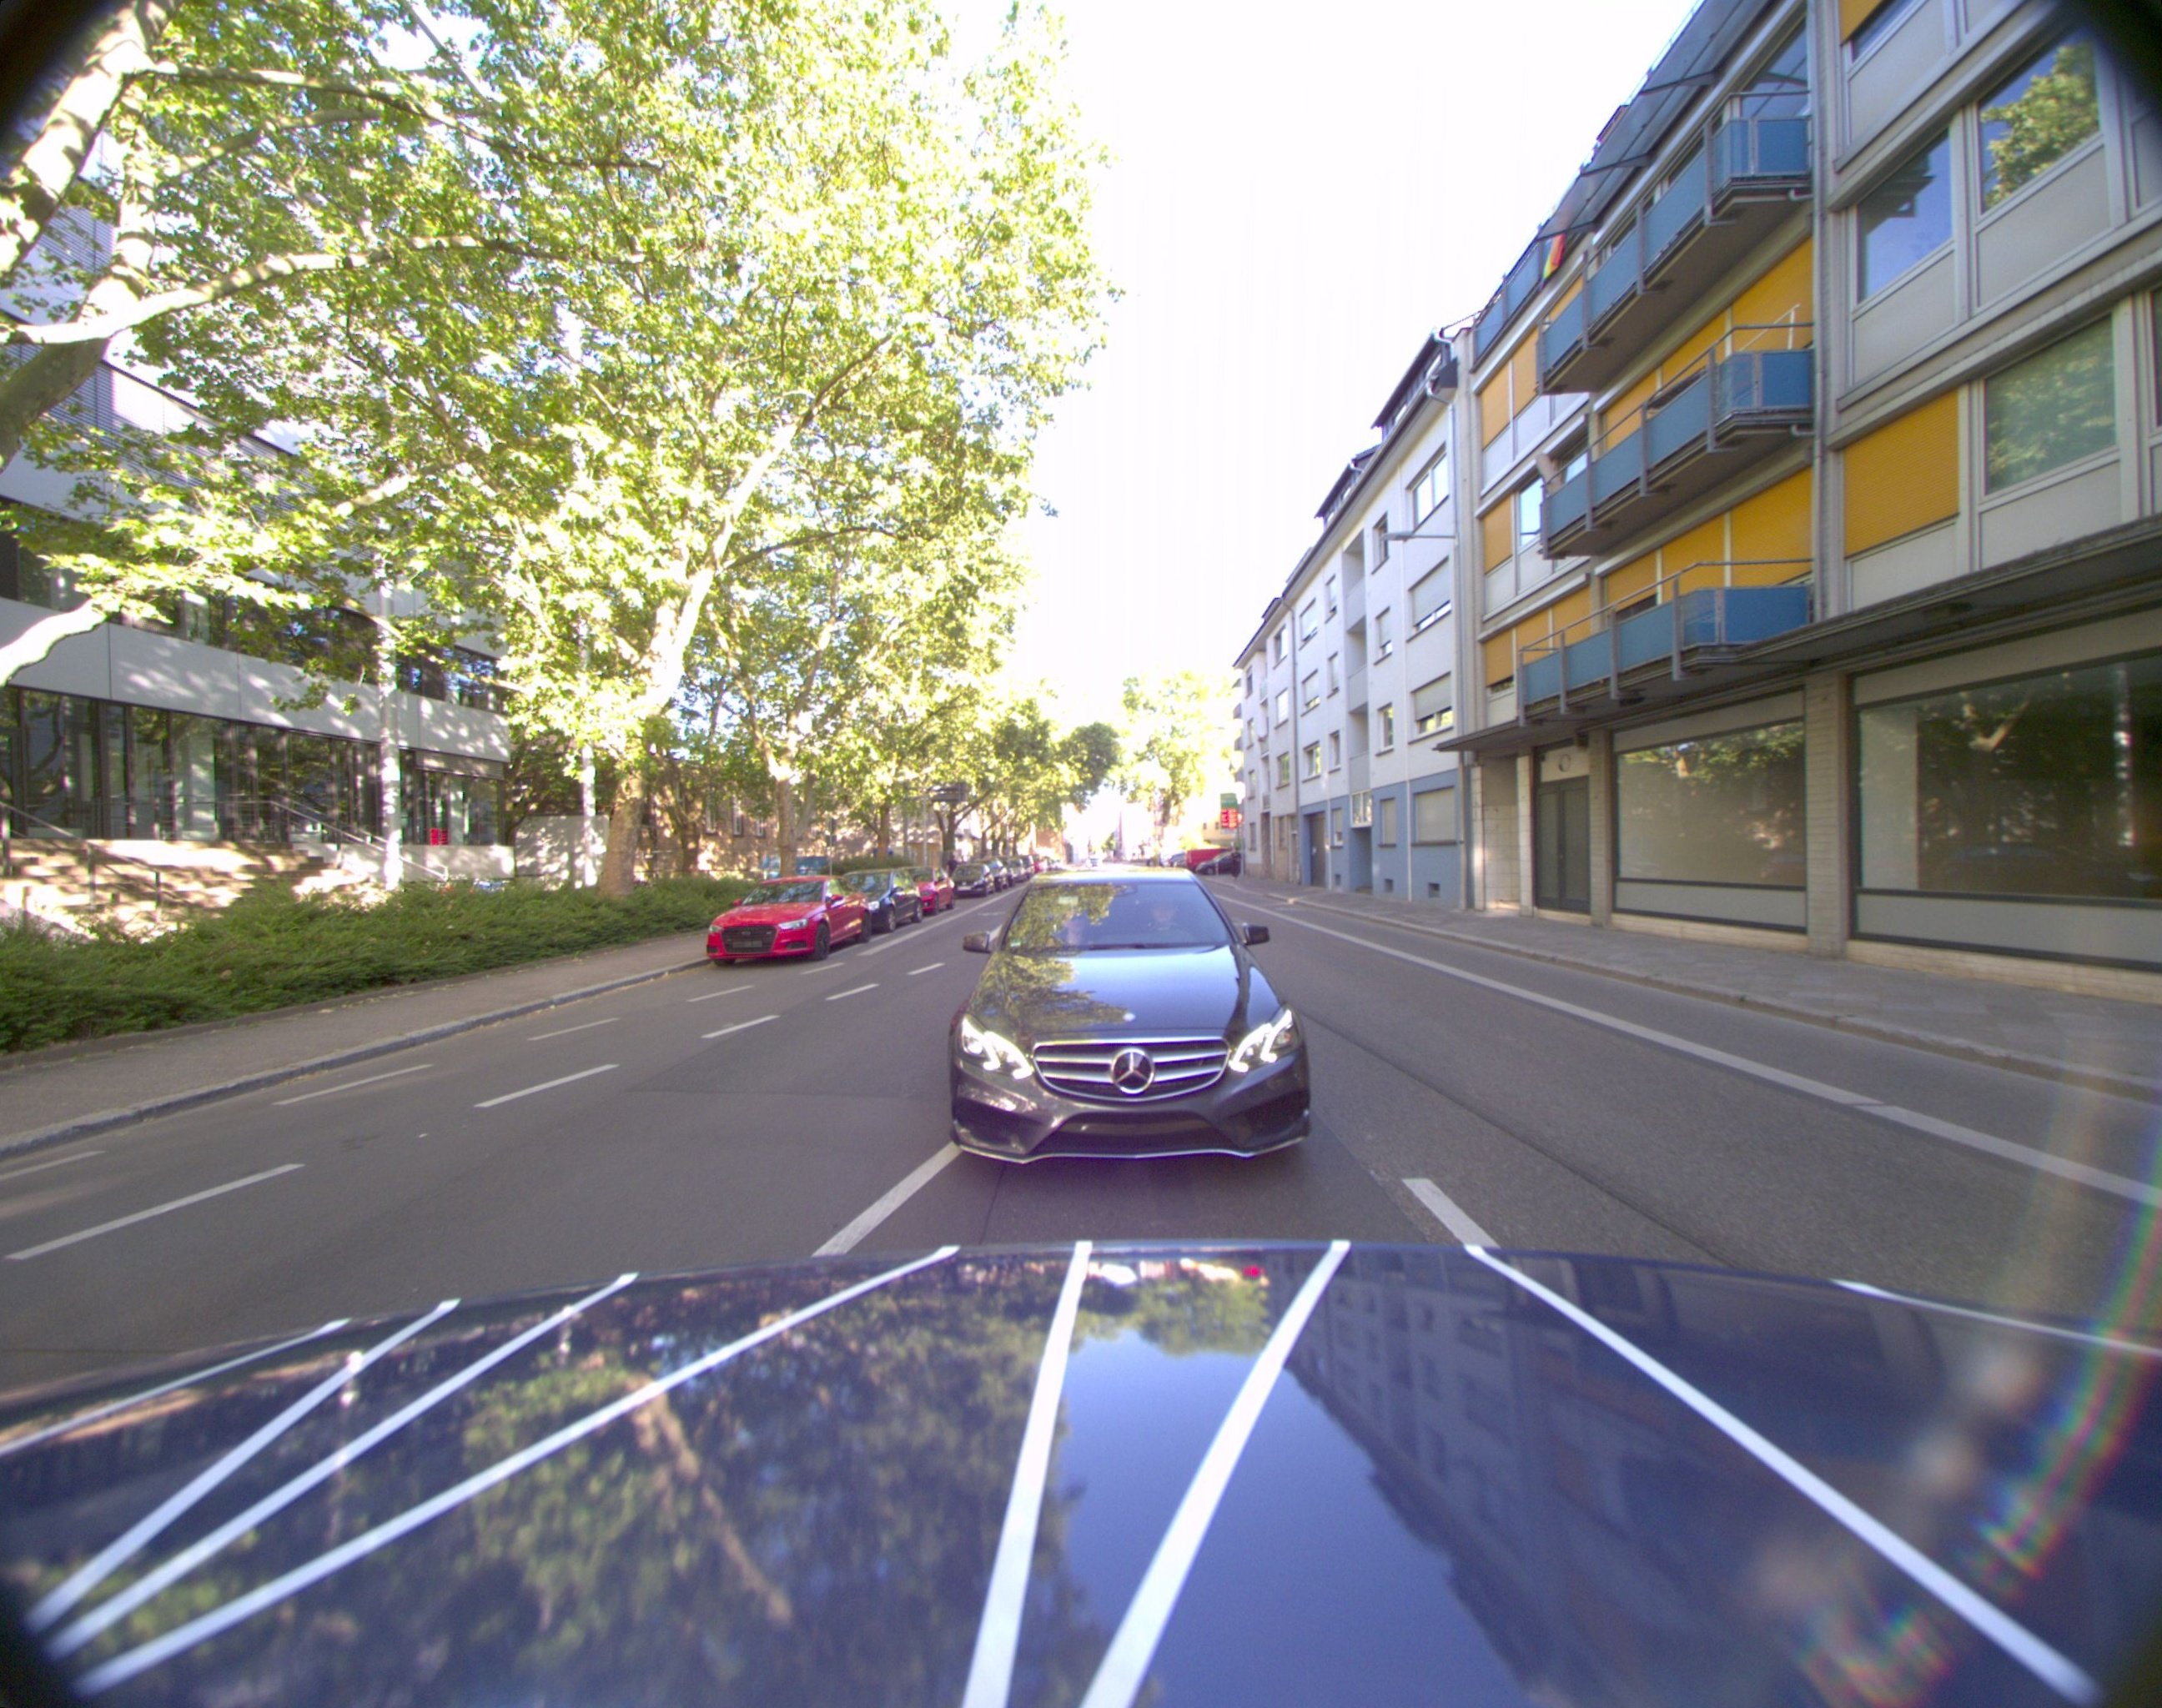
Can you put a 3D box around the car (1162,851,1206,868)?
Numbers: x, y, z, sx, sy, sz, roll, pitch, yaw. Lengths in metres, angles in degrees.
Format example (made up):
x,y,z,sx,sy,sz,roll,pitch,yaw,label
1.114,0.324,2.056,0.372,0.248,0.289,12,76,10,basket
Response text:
x,y,z,sx,sy,sz,roll,pitch,yaw,label
10.609,0.537,78.655,4.255,1.461,1.653,-4,0,1,car

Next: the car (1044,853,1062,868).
x,y,z,sx,sy,sz,roll,pitch,yaw,label
-3.405,0.786,92.848,1.835,1.667,4.259,-2,0,1,car

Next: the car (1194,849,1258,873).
x,y,z,sx,sy,sz,roll,pitch,yaw,label
10.405,0.515,54.753,4.255,1.392,1.653,-4,0,1,car

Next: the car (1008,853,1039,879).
x,y,z,sx,sy,sz,roll,pitch,yaw,label
-4.174,0.811,55.645,1.835,1.750,4.259,-2,0,1,car

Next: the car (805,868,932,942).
x,y,z,sx,sy,sz,roll,pitch,yaw,label
-5.037,1.149,18.636,1.835,1.438,4.168,-2,0,1,car

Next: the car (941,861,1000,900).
x,y,z,sx,sy,sz,roll,pitch,yaw,label
-4.741,1.103,33.183,1.835,1.459,4.168,-2,0,1,car

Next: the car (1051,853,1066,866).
x,y,z,sx,sy,sz,roll,pitch,yaw,label
-3.039,0.684,102.955,1.835,1.667,4.259,-2,0,1,car

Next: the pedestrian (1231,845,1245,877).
x,y,z,sx,sy,sz,roll,pitch,yaw,label
8.426,0.386,40.774,0.612,1.685,0.655,-2,1,1,pedestrian

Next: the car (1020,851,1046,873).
x,y,z,sx,sy,sz,roll,pitch,yaw,label
-4.140,0.681,66.353,1.835,1.839,4.259,-2,0,1,car

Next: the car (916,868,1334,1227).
x,y,z,sx,sy,sz,roll,pitch,yaw,label
0.227,0.915,5.577,1.849,1.490,4.302,-1,0,1,car

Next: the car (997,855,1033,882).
x,y,z,sx,sy,sz,roll,pitch,yaw,label
-4.333,0.946,50.614,1.835,1.604,4.259,-2,0,1,car

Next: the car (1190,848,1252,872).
x,y,z,sx,sy,sz,roll,pitch,yaw,label
10.489,0.452,57.054,4.255,1.461,1.653,-4,0,1,car

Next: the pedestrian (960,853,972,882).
x,y,z,sx,sy,sz,roll,pitch,yaw,label
-7.180,0.845,47.431,0.601,1.785,0.593,-2,1,0,pedestrian

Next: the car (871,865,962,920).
x,y,z,sx,sy,sz,roll,pitch,yaw,label
-5.039,1.134,23.846,1.835,1.459,4.168,-2,0,1,car

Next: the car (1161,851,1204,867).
x,y,z,sx,sy,sz,roll,pitch,yaw,label
10.781,0.511,80.620,4.255,1.461,1.653,-4,0,1,car

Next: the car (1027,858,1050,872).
x,y,z,sx,sy,sz,roll,pitch,yaw,label
-3.984,1.026,71.793,1.835,1.220,4.259,-2,0,1,car

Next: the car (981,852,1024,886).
x,y,z,sx,sy,sz,roll,pitch,yaw,label
-4.505,0.821,44.120,1.835,1.787,4.463,-2,0,1,car

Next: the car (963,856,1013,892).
x,y,z,sx,sy,sz,roll,pitch,yaw,label
-4.592,0.964,38.080,1.835,1.596,4.161,-2,0,1,car

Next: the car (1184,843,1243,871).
x,y,z,sx,sy,sz,roll,pitch,yaw,label
10.420,0.219,60.134,4.255,1.907,1.818,-4,0,0,car

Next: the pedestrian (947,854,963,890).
x,y,z,sx,sy,sz,roll,pitch,yaw,label
-6.476,0.920,39.110,0.660,1.849,0.641,-2,1,1,pedestrian

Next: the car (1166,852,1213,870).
x,y,z,sx,sy,sz,roll,pitch,yaw,label
10.438,0.670,73.197,4.255,1.461,1.653,-4,0,1,car

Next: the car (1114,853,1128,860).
x,y,z,sx,sy,sz,roll,pitch,yaw,label
9.445,0.558,178.437,1.995,1.729,4.006,-1,0,21,car

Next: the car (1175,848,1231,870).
x,y,z,sx,sy,sz,roll,pitch,yaw,label
10.057,0.405,62.716,4.255,1.461,1.653,-4,0,1,car

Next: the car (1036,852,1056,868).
x,y,z,sx,sy,sz,roll,pitch,yaw,label
-3.932,0.667,86.232,1.835,1.667,4.259,-2,0,1,car

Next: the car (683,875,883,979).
x,y,z,sx,sy,sz,roll,pitch,yaw,label
-5.127,1.177,13.776,1.835,1.396,4.247,-2,0,1,car

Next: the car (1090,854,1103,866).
x,y,z,sx,sy,sz,roll,pitch,yaw,label
2.075,0.831,104.286,1.726,1.530,4.000,-1,0,1,car
